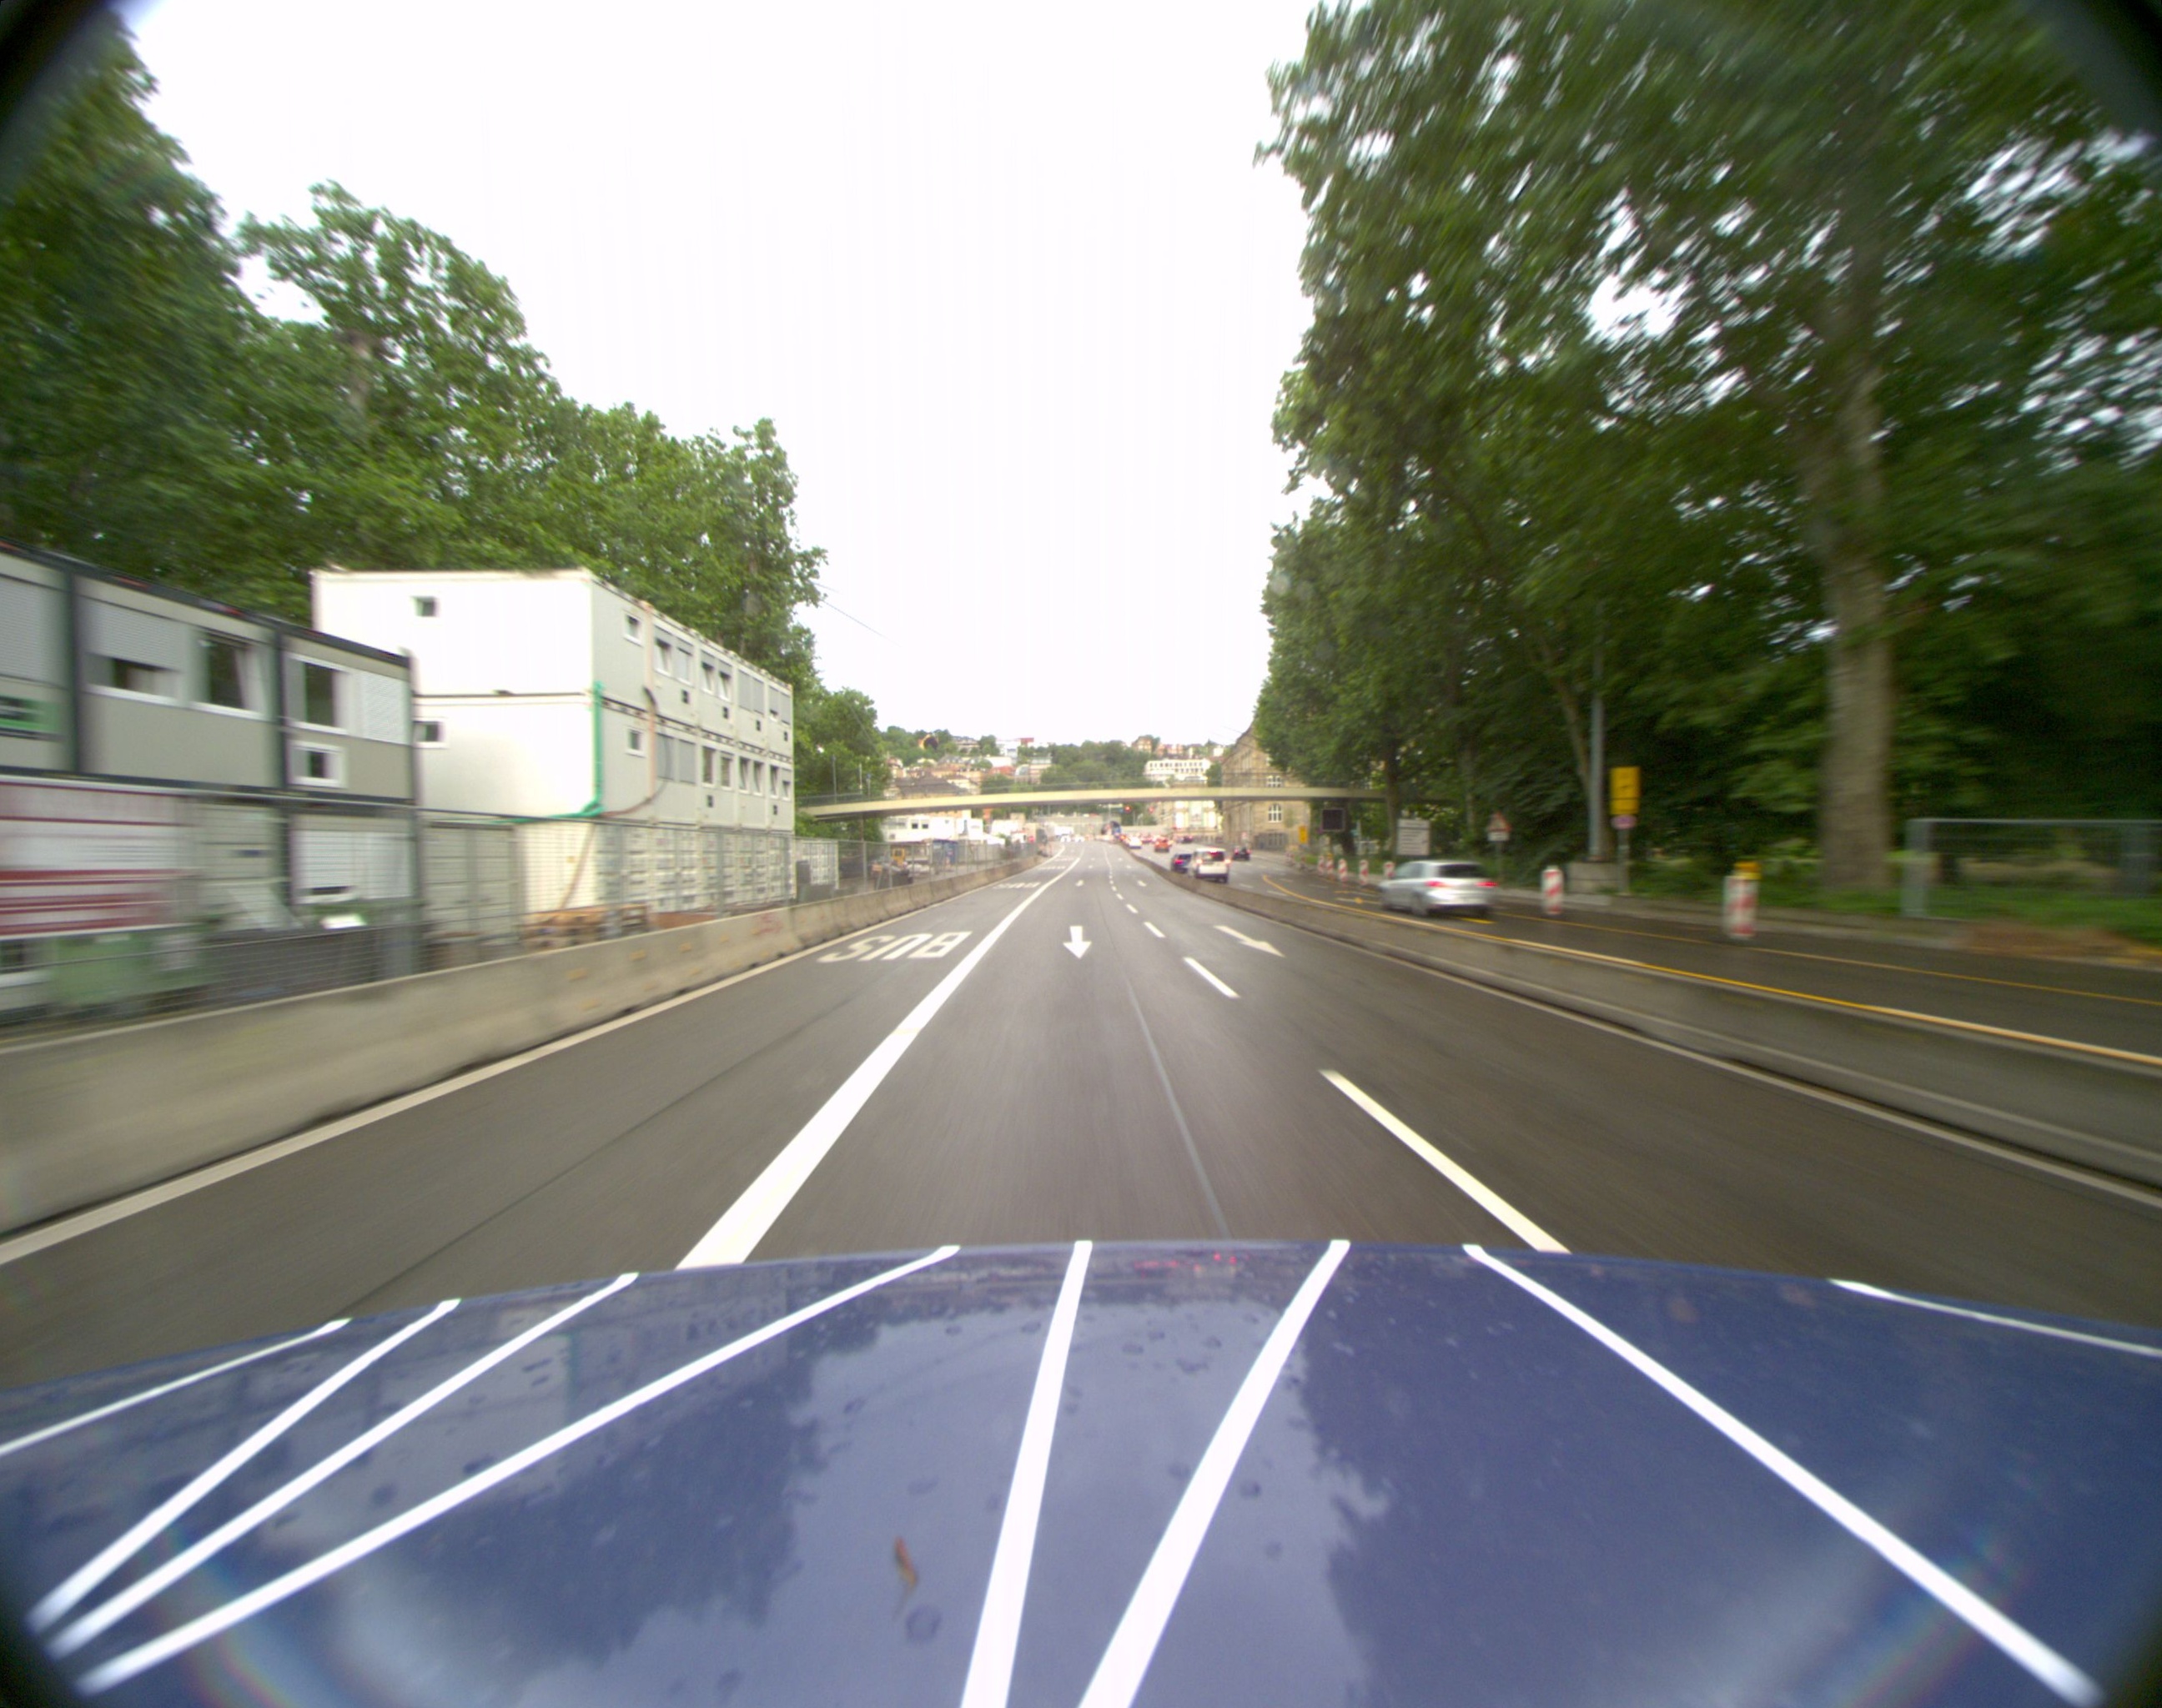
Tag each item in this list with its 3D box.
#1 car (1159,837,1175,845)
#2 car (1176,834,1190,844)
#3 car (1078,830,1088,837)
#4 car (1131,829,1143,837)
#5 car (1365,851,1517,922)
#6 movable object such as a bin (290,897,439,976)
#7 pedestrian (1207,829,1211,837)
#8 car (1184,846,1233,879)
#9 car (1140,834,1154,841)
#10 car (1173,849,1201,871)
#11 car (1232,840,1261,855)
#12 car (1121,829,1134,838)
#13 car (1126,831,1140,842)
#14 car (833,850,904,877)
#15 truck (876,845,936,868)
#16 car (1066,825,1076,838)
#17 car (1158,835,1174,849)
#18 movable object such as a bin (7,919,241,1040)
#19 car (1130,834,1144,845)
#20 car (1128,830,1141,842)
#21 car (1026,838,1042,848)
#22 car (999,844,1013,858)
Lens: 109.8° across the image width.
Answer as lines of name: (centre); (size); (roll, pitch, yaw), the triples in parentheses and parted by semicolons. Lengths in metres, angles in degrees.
car: (15.230, -2.306, 134.569); (1.999, 1.375, 4.208); (0, 3, -4)
car: (20.834, -3.021, 155.080); (2.000, 2.003, 3.995); (0, 3, -7)
car: (0.495, -5.181, 193.528); (2.000, 1.562, 3.995); (0, 3, -8)
car: (11.502, -4.255, 156.589); (1.999, 1.547, 4.208); (0, 3, -4)
car: (9.420, 0.775, 20.319); (1.874, 1.533, 4.086); (0, 3, -4)
movable object such as a bin: (-11.798, 1.339, 12.575); (1.250, 1.117, 1.238); (1, 3, 0)
pedestrian: (25.772, -4.156, 153.181); (0.618, 1.576, 0.734); (0, 3, -6)
car: (6.996, 0.436, 42.095); (2.035, 1.644, 4.911); (1, 1, 2)
car: (12.862, -3.246, 148.412); (1.999, 1.375, 4.208); (1, 3, -3)
car: (7.432, 0.406, 53.487); (1.715, 1.331, 4.063); (3, 1, 6)
car: (18.049, -0.705, 82.589); (2.032, 1.643, 4.326); (0, 0, 27)
car: (9.241, -4.097, 151.058); (1.999, 1.559, 5.378); (1, 3, -2)
car: (9.447, -3.252, 137.757); (1.999, 1.856, 5.592); (1, 3, -1)
car: (-15.181, 0.666, 54.511); (4.511, 1.718, 1.999); (-2, 2, -4)
truck: (-16.531, 0.192, 72.071); (5.169, 2.003, 2.407); (-1, 3, -5)
car: (-3.123, -7.264, 246.739); (2.836, 3.992, 8.721); (1, 3, 2)
car: (12.545, -1.816, 112.095); (2.035, 1.926, 5.043); (1, 3, 4)
movable object such as a bin: (-11.746, 1.510, 9.406); (1.250, 1.230, 1.238); (1, 3, 0)
car: (9.173, -2.378, 124.220); (1.898, 1.559, 4.895); (1, 3, -1)
car: (9.206, -3.148, 130.757); (1.914, 1.856, 4.376); (1, 3, -1)
car: (-7.259, -1.710, 118.613); (1.836, 1.433, 4.412); (-2, 3, 5)
car: (-9.808, -0.417, 99.327); (1.857, 1.477, 3.994); (0, 5, -6)
